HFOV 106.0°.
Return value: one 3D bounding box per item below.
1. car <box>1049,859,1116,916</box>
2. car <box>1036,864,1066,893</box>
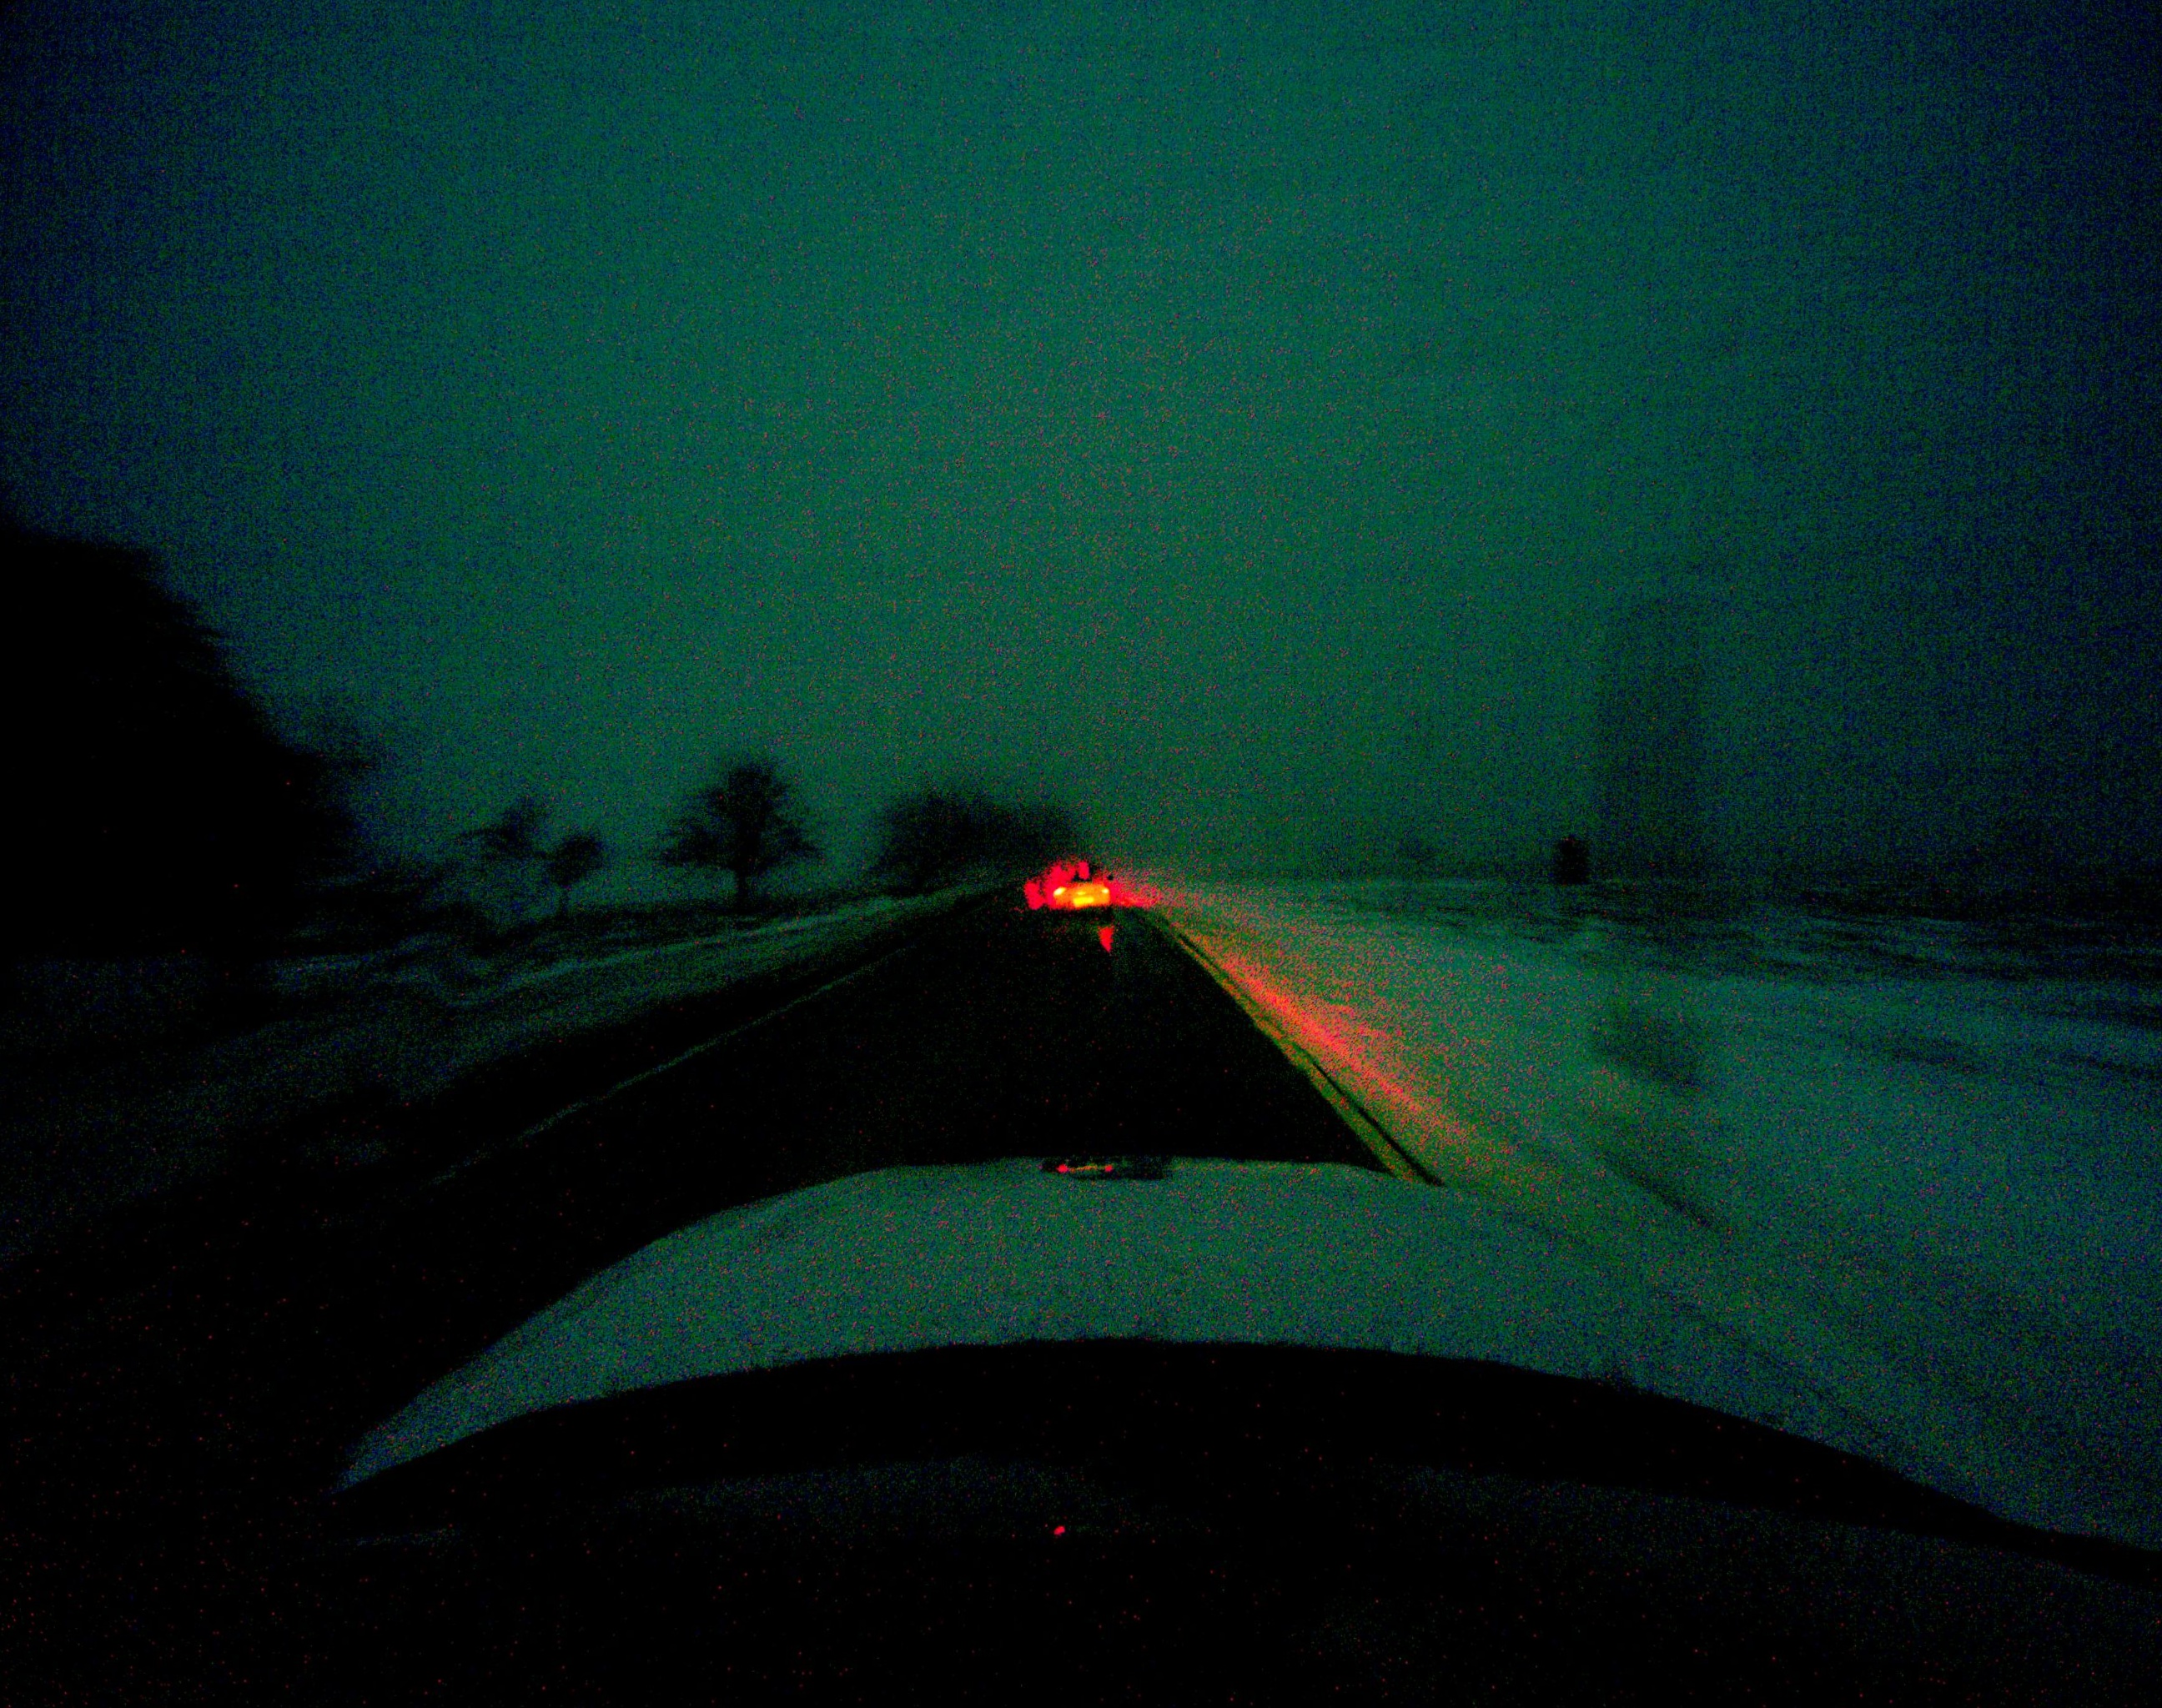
[{"bbox_3d":[-0.044,0.885,23.055,1.703,1.463,3.996,0,-1,-3],"label":"car"},{"bbox_3d":[-1.607,1.306,44.284,1.474,1.508,3.052,-2,-1,0],"label":"car"}]
